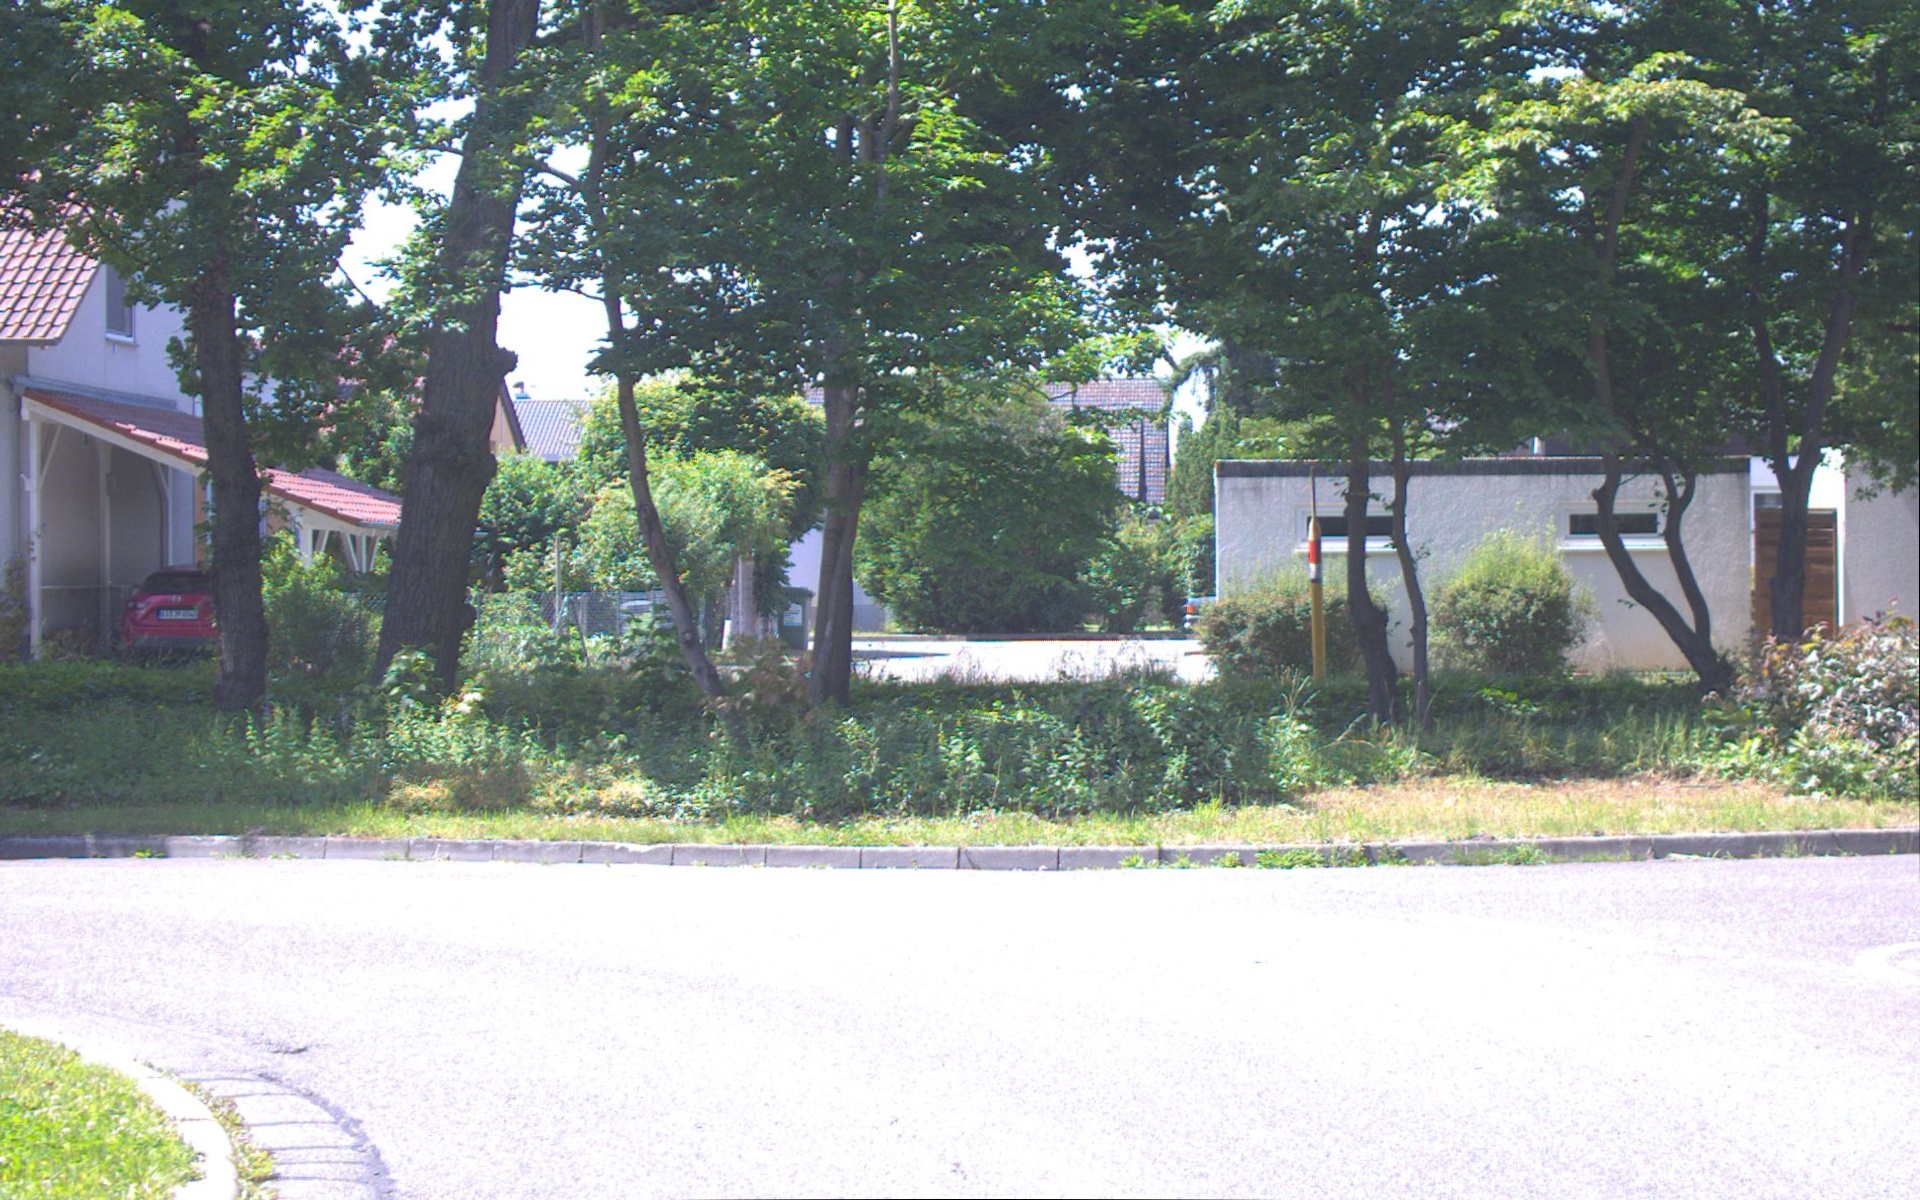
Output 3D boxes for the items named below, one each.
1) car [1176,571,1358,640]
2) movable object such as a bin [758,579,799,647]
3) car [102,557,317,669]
[{"bbox_3d":[5.675,0.088,63.784,3.268,1.249,1.573,0,1,2],"label":"car"},{"bbox_3d":[-3.007,0.214,56.987,0.657,1.108,0.457,0,1,1],"label":"movable object such as a bin"},{"bbox_3d":[-9.677,0.139,44.592,1.679,1.380,3.693,0,1,5],"label":"car"}]
